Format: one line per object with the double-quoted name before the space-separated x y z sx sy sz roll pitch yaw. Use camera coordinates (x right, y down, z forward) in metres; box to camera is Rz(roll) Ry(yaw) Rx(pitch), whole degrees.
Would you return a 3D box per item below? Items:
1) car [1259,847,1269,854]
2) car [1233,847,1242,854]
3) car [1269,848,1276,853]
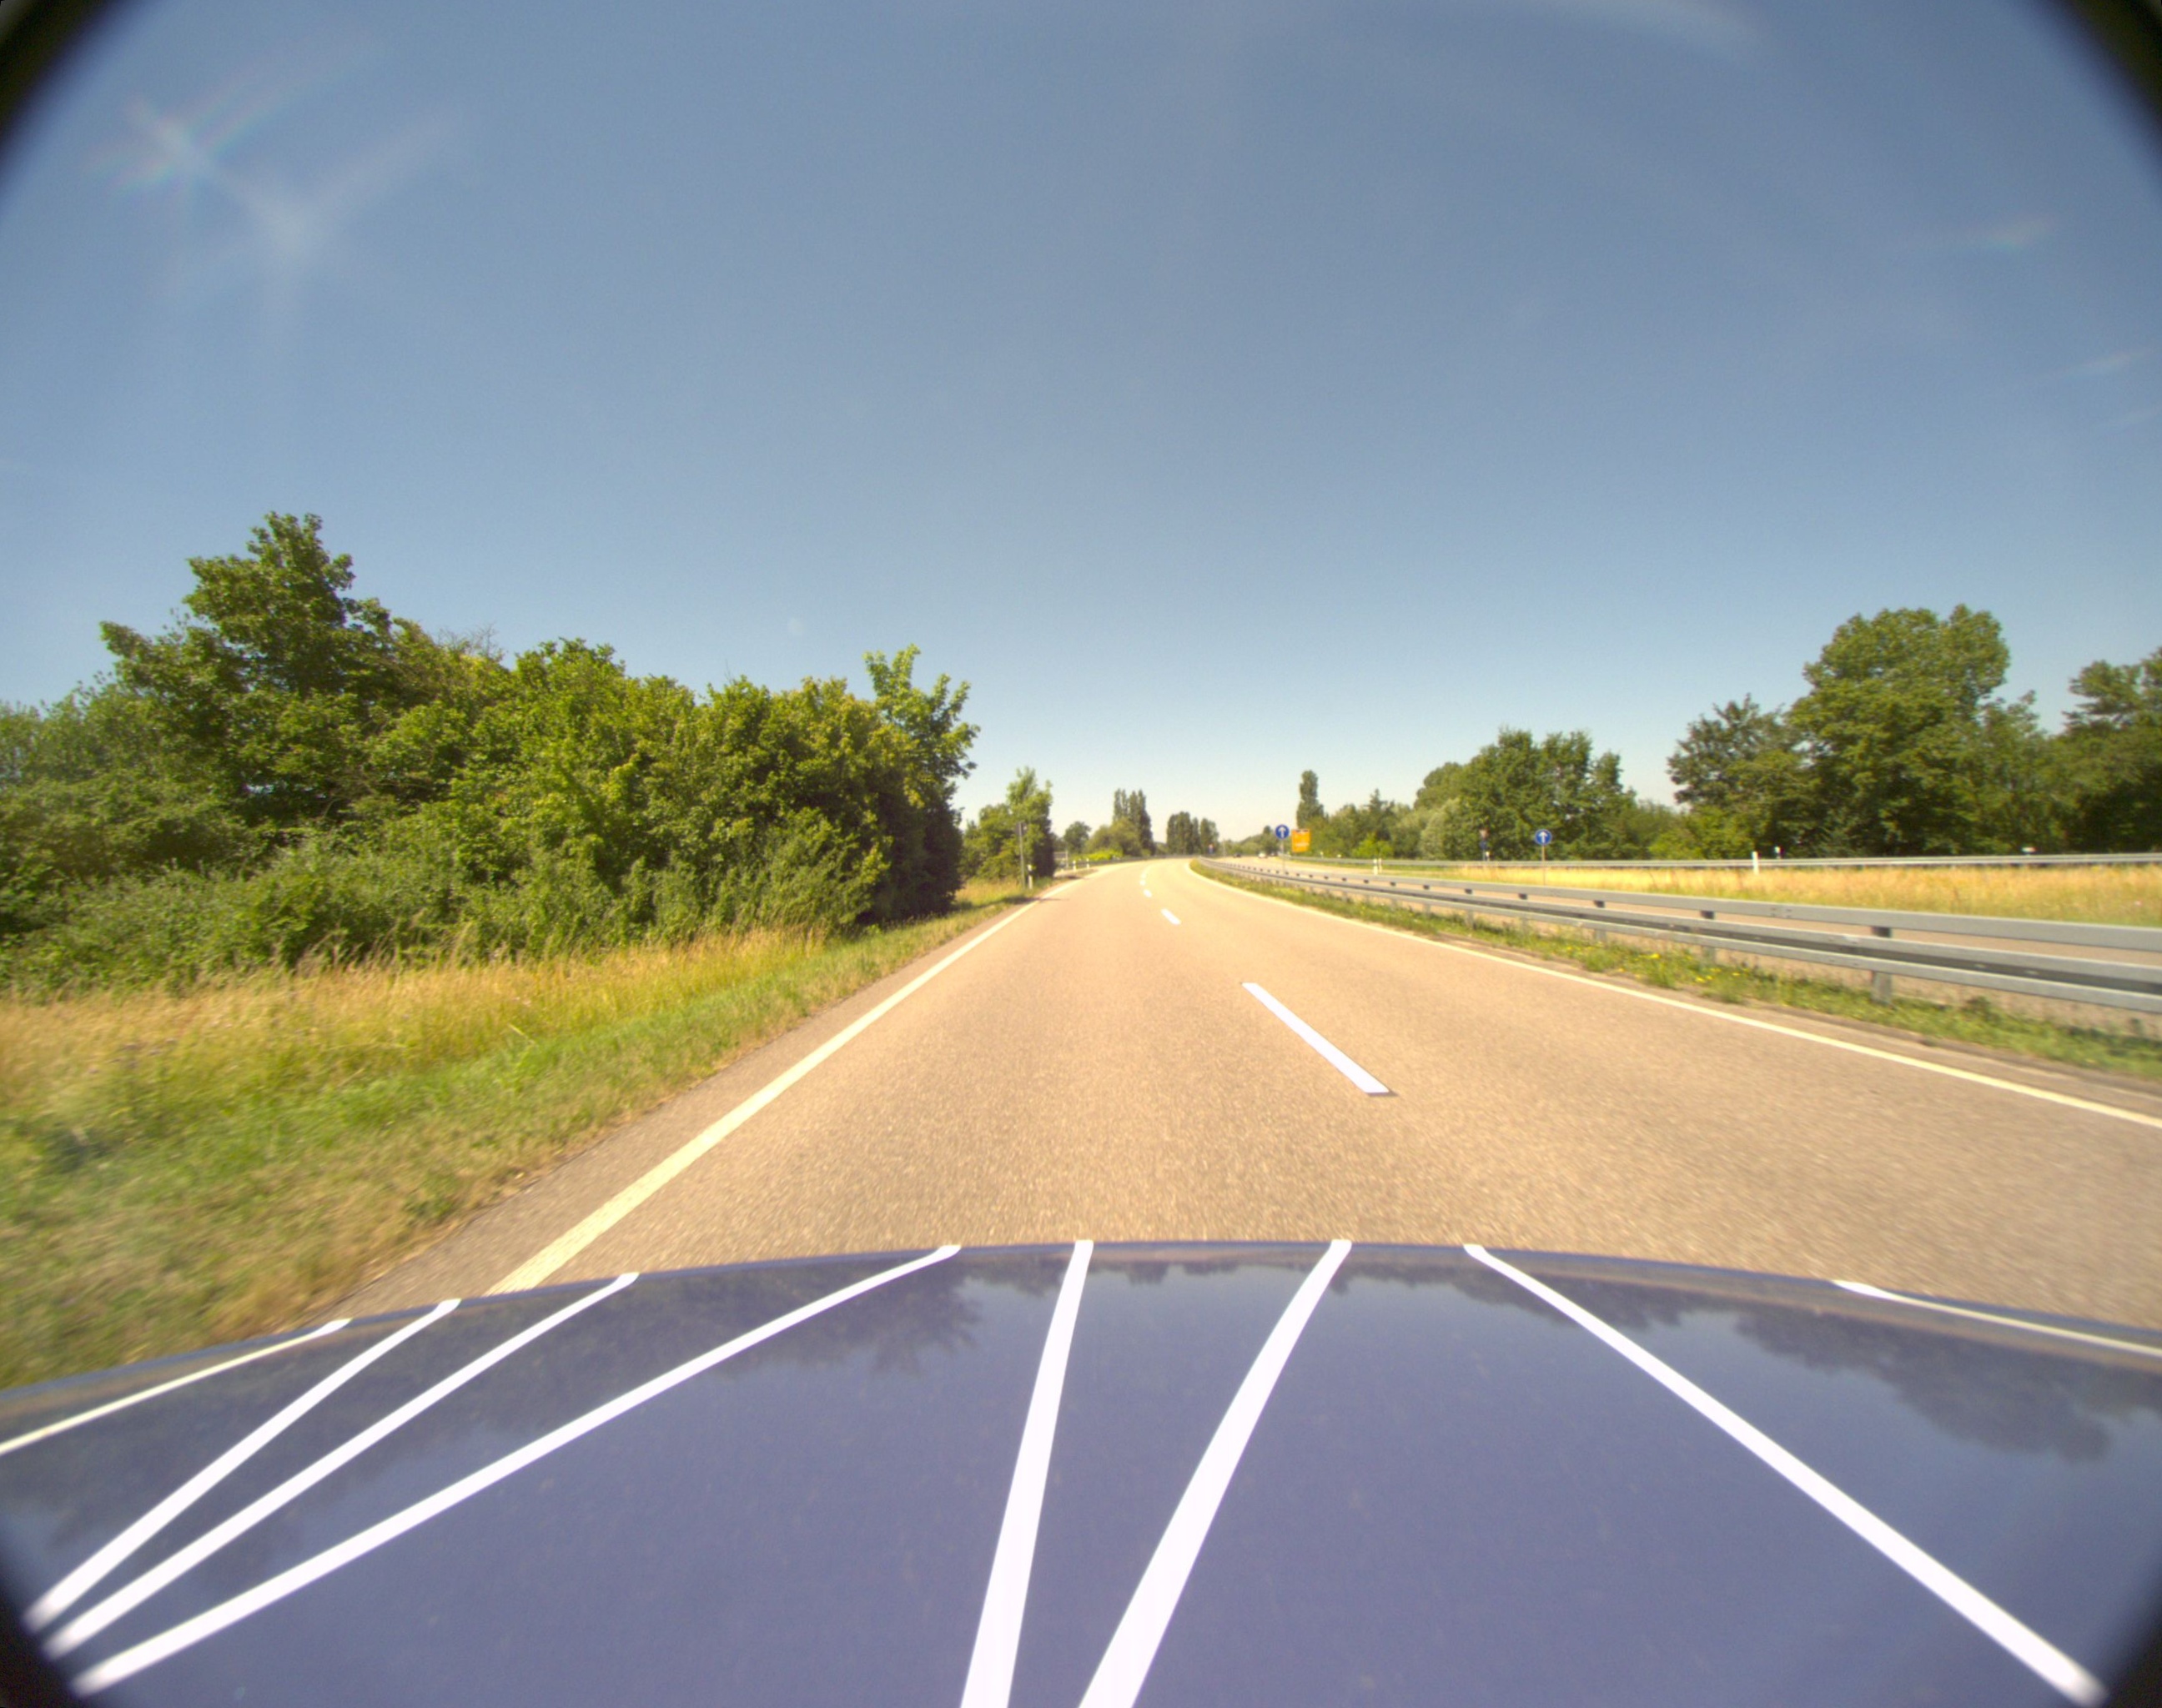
"car" 40.333 -0.707 167.225 1.973 1.477 3.874 -2 1 15
"car" 38.598 -0.863 187.151 1.973 1.477 3.874 -2 1 15
"car" 63.972 -1.129 253.568 1.973 1.477 3.874 -2 1 15
